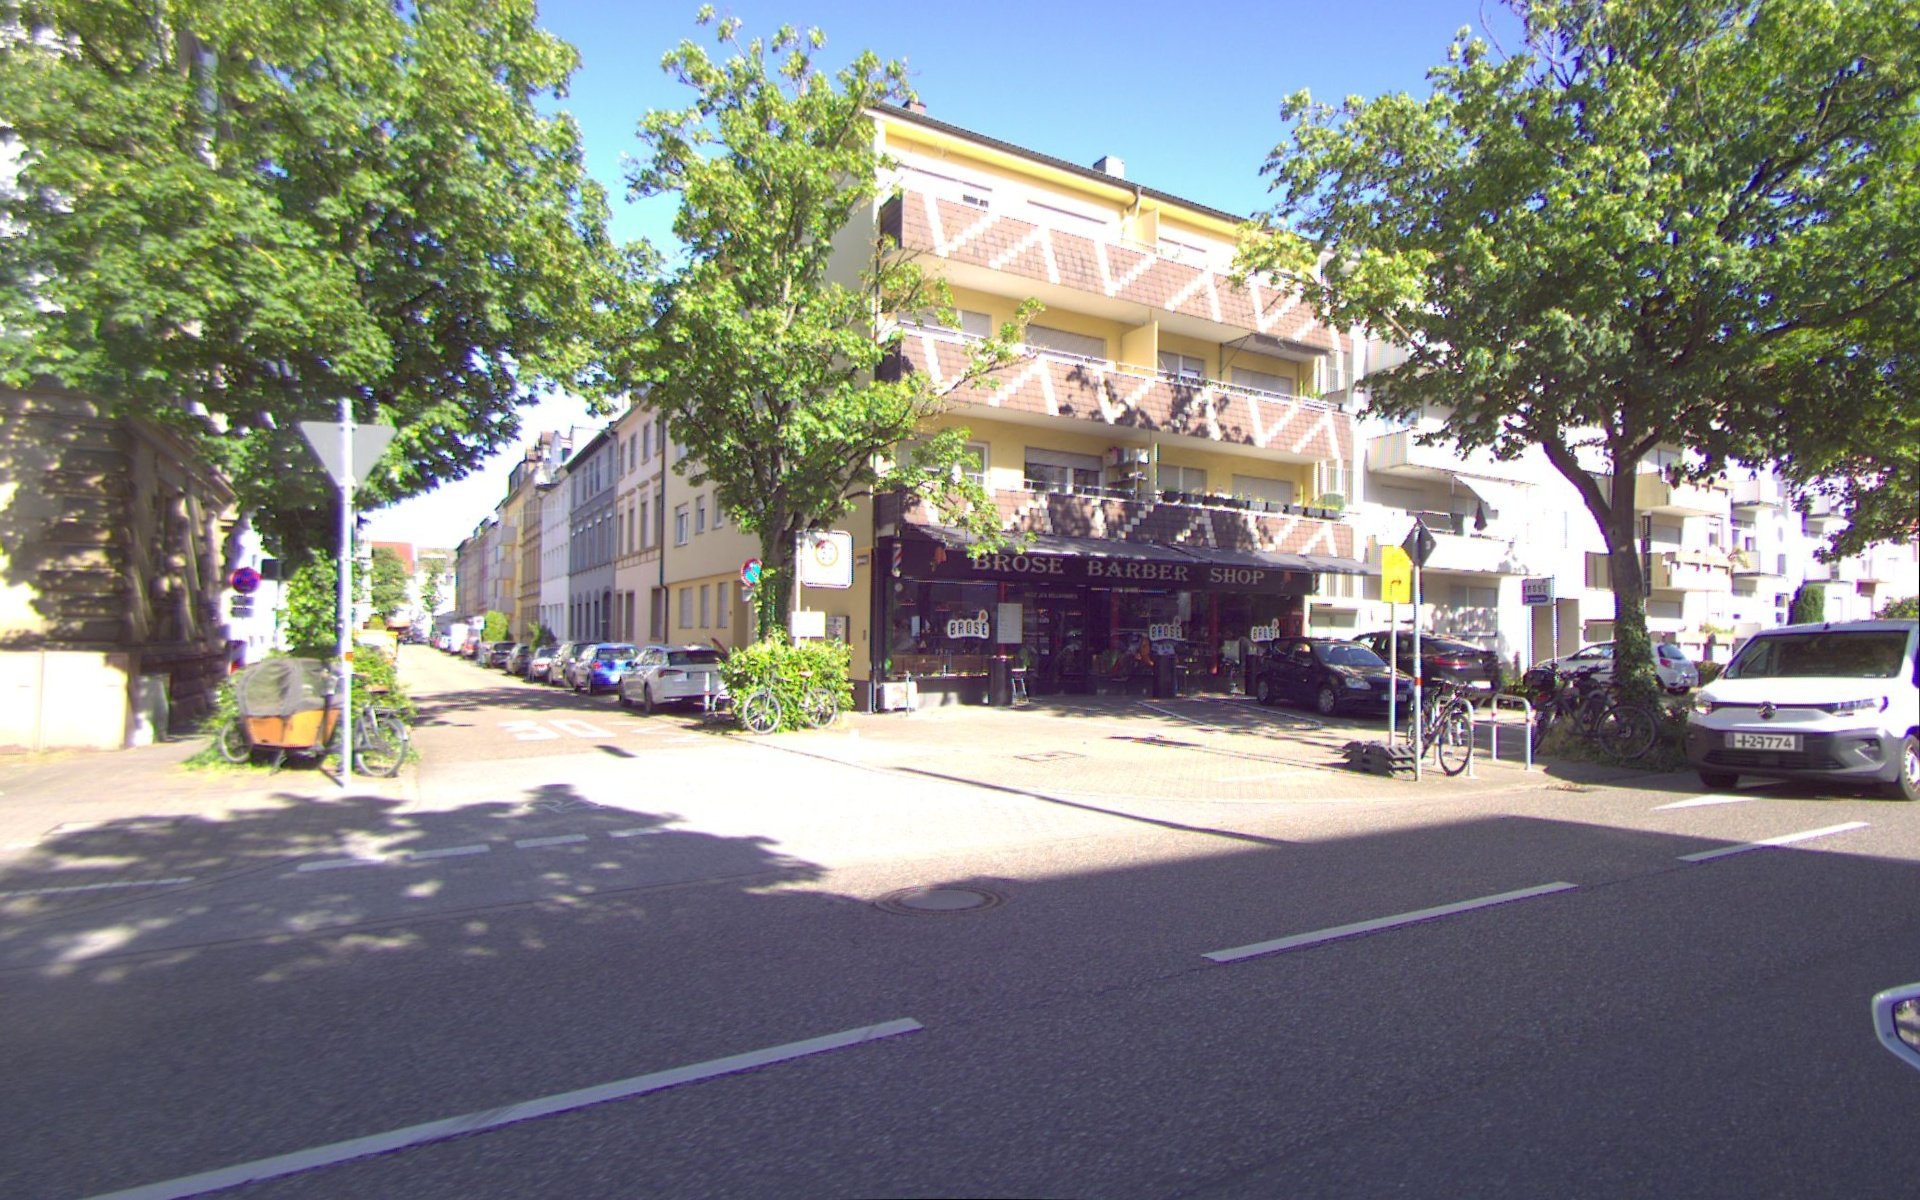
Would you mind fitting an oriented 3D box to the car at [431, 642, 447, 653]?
[{"bbox_3d":[-61.419,5.556,118.399,1.475,1.282,3.634,0,-2,-30],"label":"car"}]

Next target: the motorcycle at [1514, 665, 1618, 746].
[{"bbox_3d":[9.258,1.586,15.333,1.692,1.140,0.460,1,-1,-23],"label":"motorcycle"}]

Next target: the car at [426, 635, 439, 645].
[{"bbox_3d":[-72.791,5.562,138.556,1.475,1.282,3.634,0,-2,-30],"label":"car"}]

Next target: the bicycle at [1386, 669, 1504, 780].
[{"bbox_3d":[5.849,1.464,12.228,0.453,1.150,1.936,0,-1,-2],"label":"bicycle"}]

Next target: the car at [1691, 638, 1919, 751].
[{"bbox_3d":[14.037,1.467,16.591,4.088,1.617,1.714,2,-1,-30],"label":"car"}]

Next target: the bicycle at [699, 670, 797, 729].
[{"bbox_3d":[-3.956,1.841,18.774,1.734,0.993,0.402,0,-2,-24],"label":"bicycle"}]

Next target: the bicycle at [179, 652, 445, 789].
[{"bbox_3d":[-7.186,1.259,11.090,3.116,1.278,0.952,0,-3,26],"label":"bicycle"}]

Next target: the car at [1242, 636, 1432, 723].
[{"bbox_3d":[7.344,1.488,20.018,1.702,1.475,3.992,1,-1,-11],"label":"car"}]

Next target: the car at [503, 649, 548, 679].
[{"bbox_3d":[-19.803,2.881,45.720,1.475,1.282,3.634,0,-2,-30],"label":"car"}]

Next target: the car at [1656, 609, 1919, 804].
[{"bbox_3d":[9.801,1.078,11.057,4.442,1.765,1.807,2,-4,-31],"label":"car"}]

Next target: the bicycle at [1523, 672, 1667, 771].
[{"bbox_3d":[8.374,1.560,13.355,0.453,1.106,2.027,0,-1,-7],"label":"bicycle"}]

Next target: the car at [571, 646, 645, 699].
[{"bbox_3d":[-10.596,2.114,30.099,1.475,1.461,3.634,0,-2,-30],"label":"car"}]

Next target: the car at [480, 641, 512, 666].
[{"bbox_3d":[-28.358,3.246,61.334,1.475,1.444,3.634,0,-2,-30],"label":"car"}]

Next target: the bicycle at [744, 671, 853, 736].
[{"bbox_3d":[-2.656,1.683,16.579,1.734,0.972,0.402,0,-2,-24],"label":"bicycle"}]

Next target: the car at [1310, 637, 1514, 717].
[{"bbox_3d":[9.575,1.566,21.624,1.707,1.480,3.981,1,-1,-21],"label":"car"}]

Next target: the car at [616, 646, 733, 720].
[{"bbox_3d":[-6.488,1.778,22.545,1.627,1.461,3.969,0,-2,-30],"label":"car"}]

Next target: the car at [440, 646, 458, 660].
[{"bbox_3d":[-51.678,5.362,101.585,1.475,1.282,3.634,0,-2,-30],"label":"car"}]

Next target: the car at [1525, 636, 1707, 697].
[{"bbox_3d":[18.566,1.828,28.599,1.859,1.506,3.968,1,-1,-30],"label":"car"}]

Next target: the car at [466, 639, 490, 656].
[{"bbox_3d":[-36.807,3.623,76.674,1.475,1.282,3.634,0,-2,-30],"label":"car"}]

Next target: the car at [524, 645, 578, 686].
[{"bbox_3d":[-15.932,2.502,39.046,1.475,1.461,3.634,0,-2,-30],"label":"car"}]

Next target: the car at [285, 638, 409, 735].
[{"bbox_3d":[-10.714,1.471,17.717,1.627,1.507,3.766,3,-4,-29],"label":"car"}]

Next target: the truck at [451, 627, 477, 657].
[{"bbox_3d":[-42.885,3.635,86.823,1.851,2.451,3.634,0,-2,-30],"label":"truck"}]

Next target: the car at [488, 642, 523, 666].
[{"bbox_3d":[-25.925,3.049,57.233,1.475,1.282,3.634,0,-2,-30],"label":"car"}]

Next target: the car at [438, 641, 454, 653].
[{"bbox_3d":[-56.727,5.221,110.814,1.475,1.282,3.634,0,-2,-30],"label":"car"}]

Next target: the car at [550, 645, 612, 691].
[{"bbox_3d":[-13.040,2.283,34.452,1.475,1.461,3.634,0,-2,-30],"label":"car"}]

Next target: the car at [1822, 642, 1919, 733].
[{"bbox_3d":[18.732,1.631,19.439,4.625,1.556,1.714,2,-1,-31],"label":"car"}]
